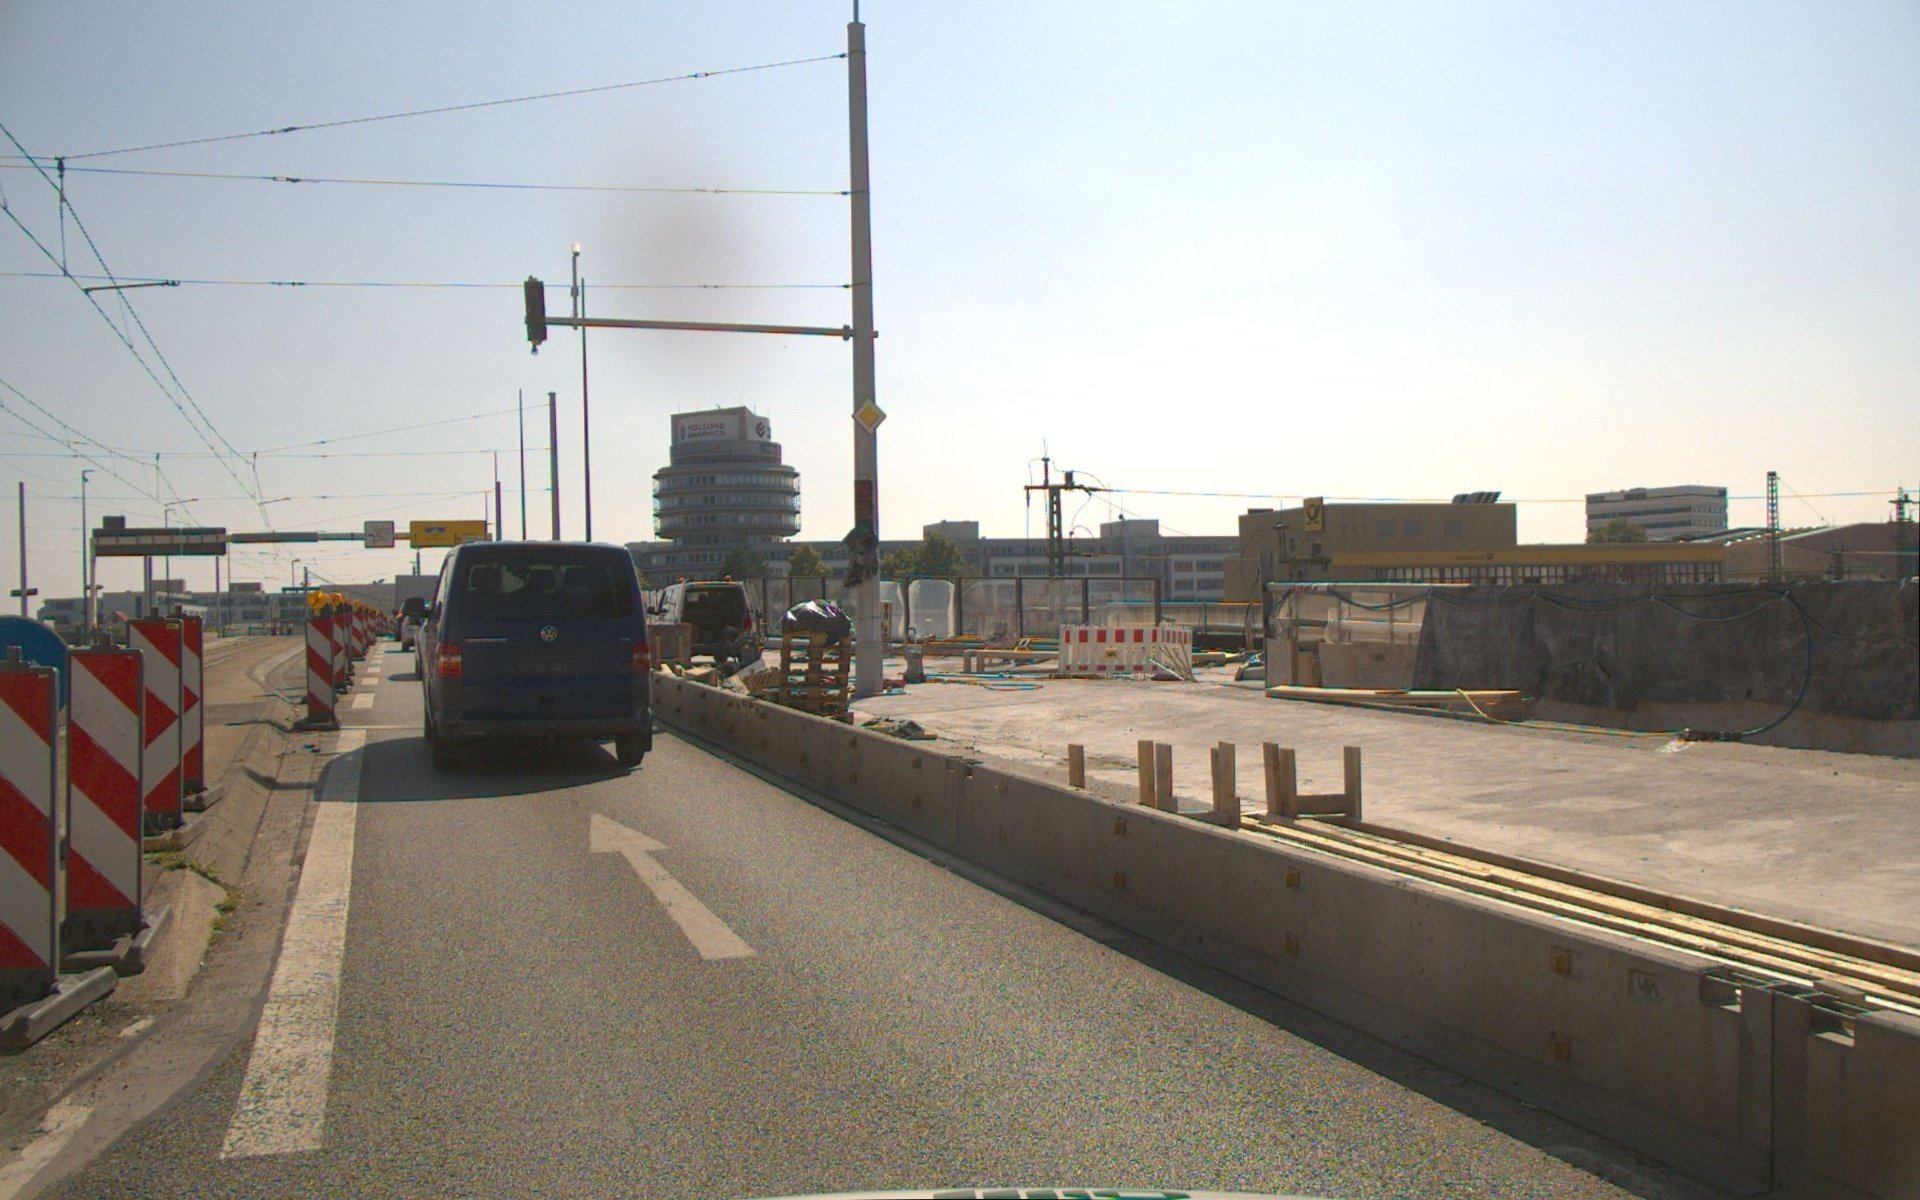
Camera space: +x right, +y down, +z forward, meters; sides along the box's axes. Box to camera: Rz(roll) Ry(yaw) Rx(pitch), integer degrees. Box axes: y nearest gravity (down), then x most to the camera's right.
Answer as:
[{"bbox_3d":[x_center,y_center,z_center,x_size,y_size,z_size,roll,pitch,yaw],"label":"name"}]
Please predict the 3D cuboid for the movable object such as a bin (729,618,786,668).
[{"bbox_3d":[-4.543,0.951,37.168,0.921,1.093,0.890,-1,0,27],"label":"movable object such as a bin"}]

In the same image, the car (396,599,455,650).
[{"bbox_3d":[-17.183,0.756,53.102,1.692,1.558,3.676,0,0,-20],"label":"car"}]

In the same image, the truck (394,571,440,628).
[{"bbox_3d":[-32.777,-0.048,99.575,2.423,3.189,11.153,-1,1,-19],"label":"truck"}]

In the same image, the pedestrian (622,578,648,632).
[{"bbox_3d":[-12.139,0.184,61.802,0.770,1.968,0.795,-3,-1,-20],"label":"pedestrian"}]

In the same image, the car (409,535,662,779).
[{"bbox_3d":[-4.105,0.451,15.531,1.790,1.939,4.028,-2,0,-21],"label":"car"}]

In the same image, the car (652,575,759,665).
[{"bbox_3d":[-6.315,0.492,40.608,1.849,2.069,4.866,0,-1,-18],"label":"car"}]

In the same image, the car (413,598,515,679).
[{"bbox_3d":[-9.500,0.696,31.523,1.692,1.429,3.392,0,0,-20],"label":"car"}]
